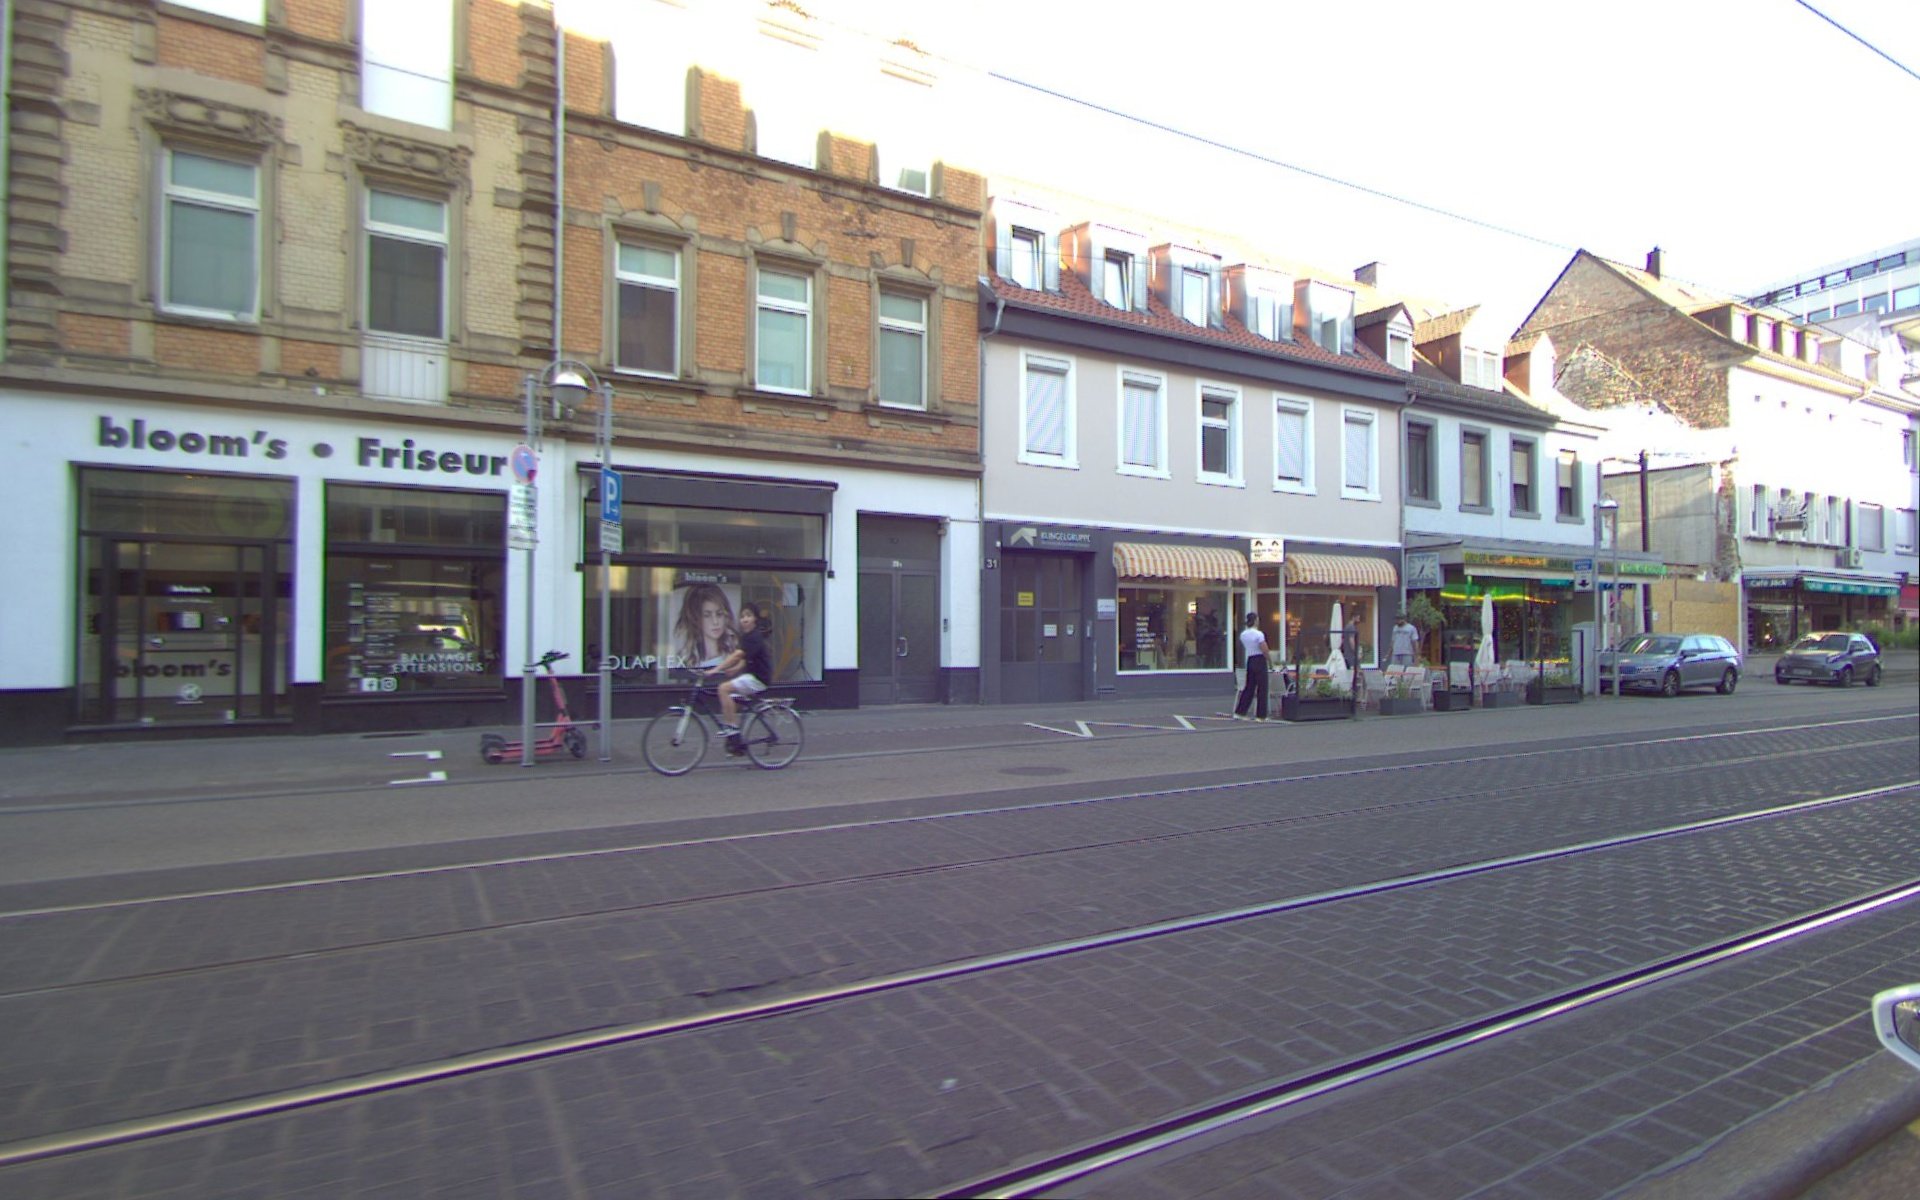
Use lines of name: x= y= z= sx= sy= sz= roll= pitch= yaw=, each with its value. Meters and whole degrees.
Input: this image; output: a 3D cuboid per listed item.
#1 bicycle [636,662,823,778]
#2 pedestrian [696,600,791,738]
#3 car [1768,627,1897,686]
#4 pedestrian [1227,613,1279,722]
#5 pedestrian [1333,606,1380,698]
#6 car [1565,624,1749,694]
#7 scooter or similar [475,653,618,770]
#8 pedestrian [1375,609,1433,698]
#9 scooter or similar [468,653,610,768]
bicycle: x=-2.507 y=1.276 z=11.039 sx=1.930 sy=1.130 sz=0.575 roll=1 pitch=-2 yaw=-31
pedestrian: x=-2.396 y=0.745 z=11.108 sx=0.864 sy=1.463 sz=0.621 roll=2 pitch=-2 yaw=-31
car: x=25.710 y=1.617 z=29.585 sx=3.696 sy=1.566 sz=1.668 roll=1 pitch=0 yaw=-28
pedestrian: x=4.984 y=1.129 z=17.068 sx=0.706 sy=1.799 sz=0.614 roll=-1 pitch=-1 yaw=32
pedestrian: x=8.188 y=1.061 z=20.741 sx=0.636 sy=1.847 sz=0.652 roll=1 pitch=-1 yaw=-35
car: x=17.262 y=1.433 z=24.817 sx=4.702 sy=1.552 sz=1.984 roll=2 pitch=-1 yaw=-31
scooter or similar: x=-4.676 y=1.231 z=11.404 sx=1.461 sy=1.218 sz=0.362 roll=1 pitch=1 yaw=-34
pedestrian: x=9.168 y=1.094 z=20.756 sx=0.680 sy=1.799 sz=0.881 roll=1 pitch=-1 yaw=-31
scooter or similar: x=-4.941 y=1.262 z=11.809 sx=1.461 sy=1.218 sz=0.576 roll=1 pitch=0 yaw=-33
